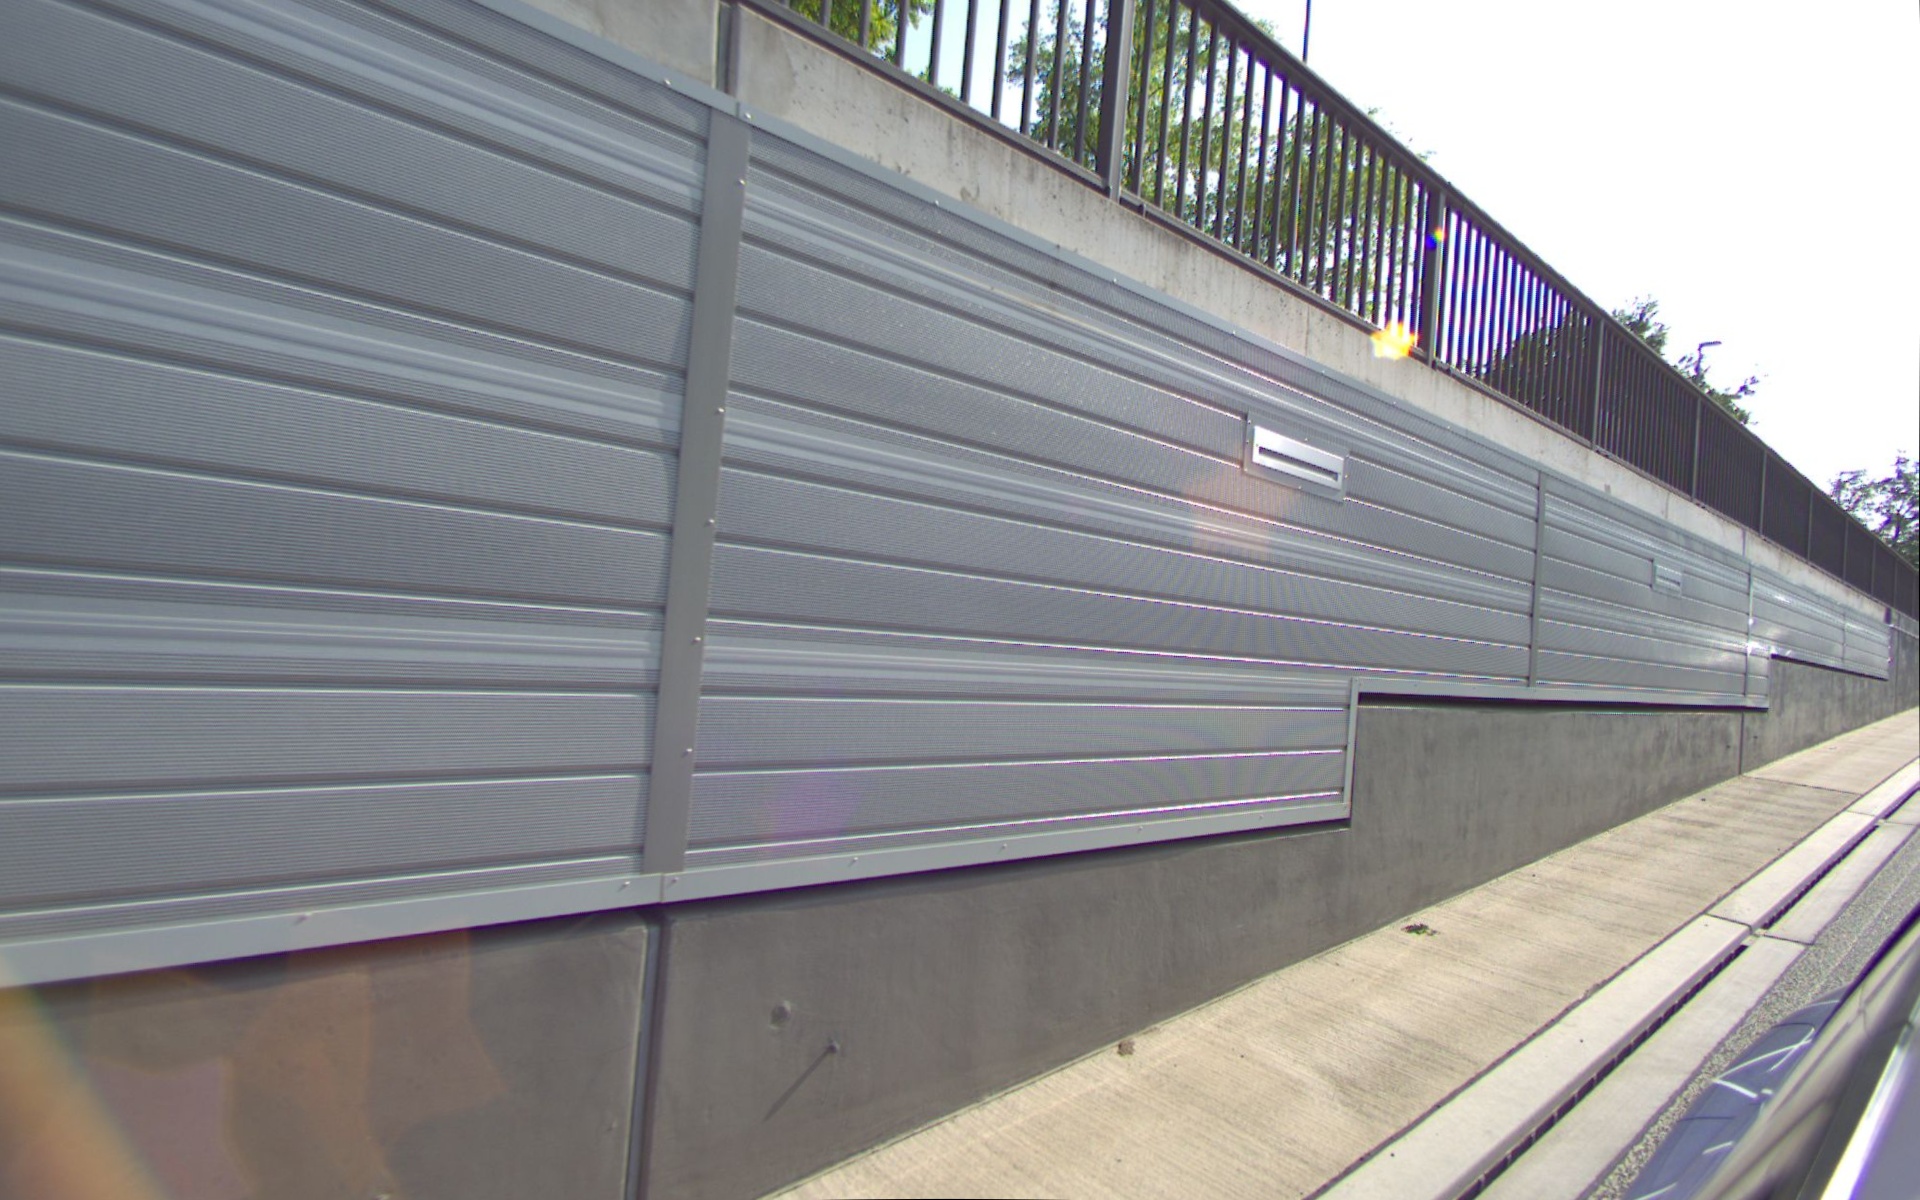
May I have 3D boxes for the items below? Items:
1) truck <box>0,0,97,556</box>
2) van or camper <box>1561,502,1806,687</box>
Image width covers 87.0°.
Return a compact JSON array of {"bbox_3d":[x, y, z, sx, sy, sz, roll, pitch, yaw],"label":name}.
[{"bbox_3d":[-5.869,-1.735,0.926,7.682,3.098,2.507,1,2,-41],"label":"truck"},{"bbox_3d":[12.044,0.090,16.631,5.954,2.504,1.989,5,-4,-41],"label":"van or camper"}]
